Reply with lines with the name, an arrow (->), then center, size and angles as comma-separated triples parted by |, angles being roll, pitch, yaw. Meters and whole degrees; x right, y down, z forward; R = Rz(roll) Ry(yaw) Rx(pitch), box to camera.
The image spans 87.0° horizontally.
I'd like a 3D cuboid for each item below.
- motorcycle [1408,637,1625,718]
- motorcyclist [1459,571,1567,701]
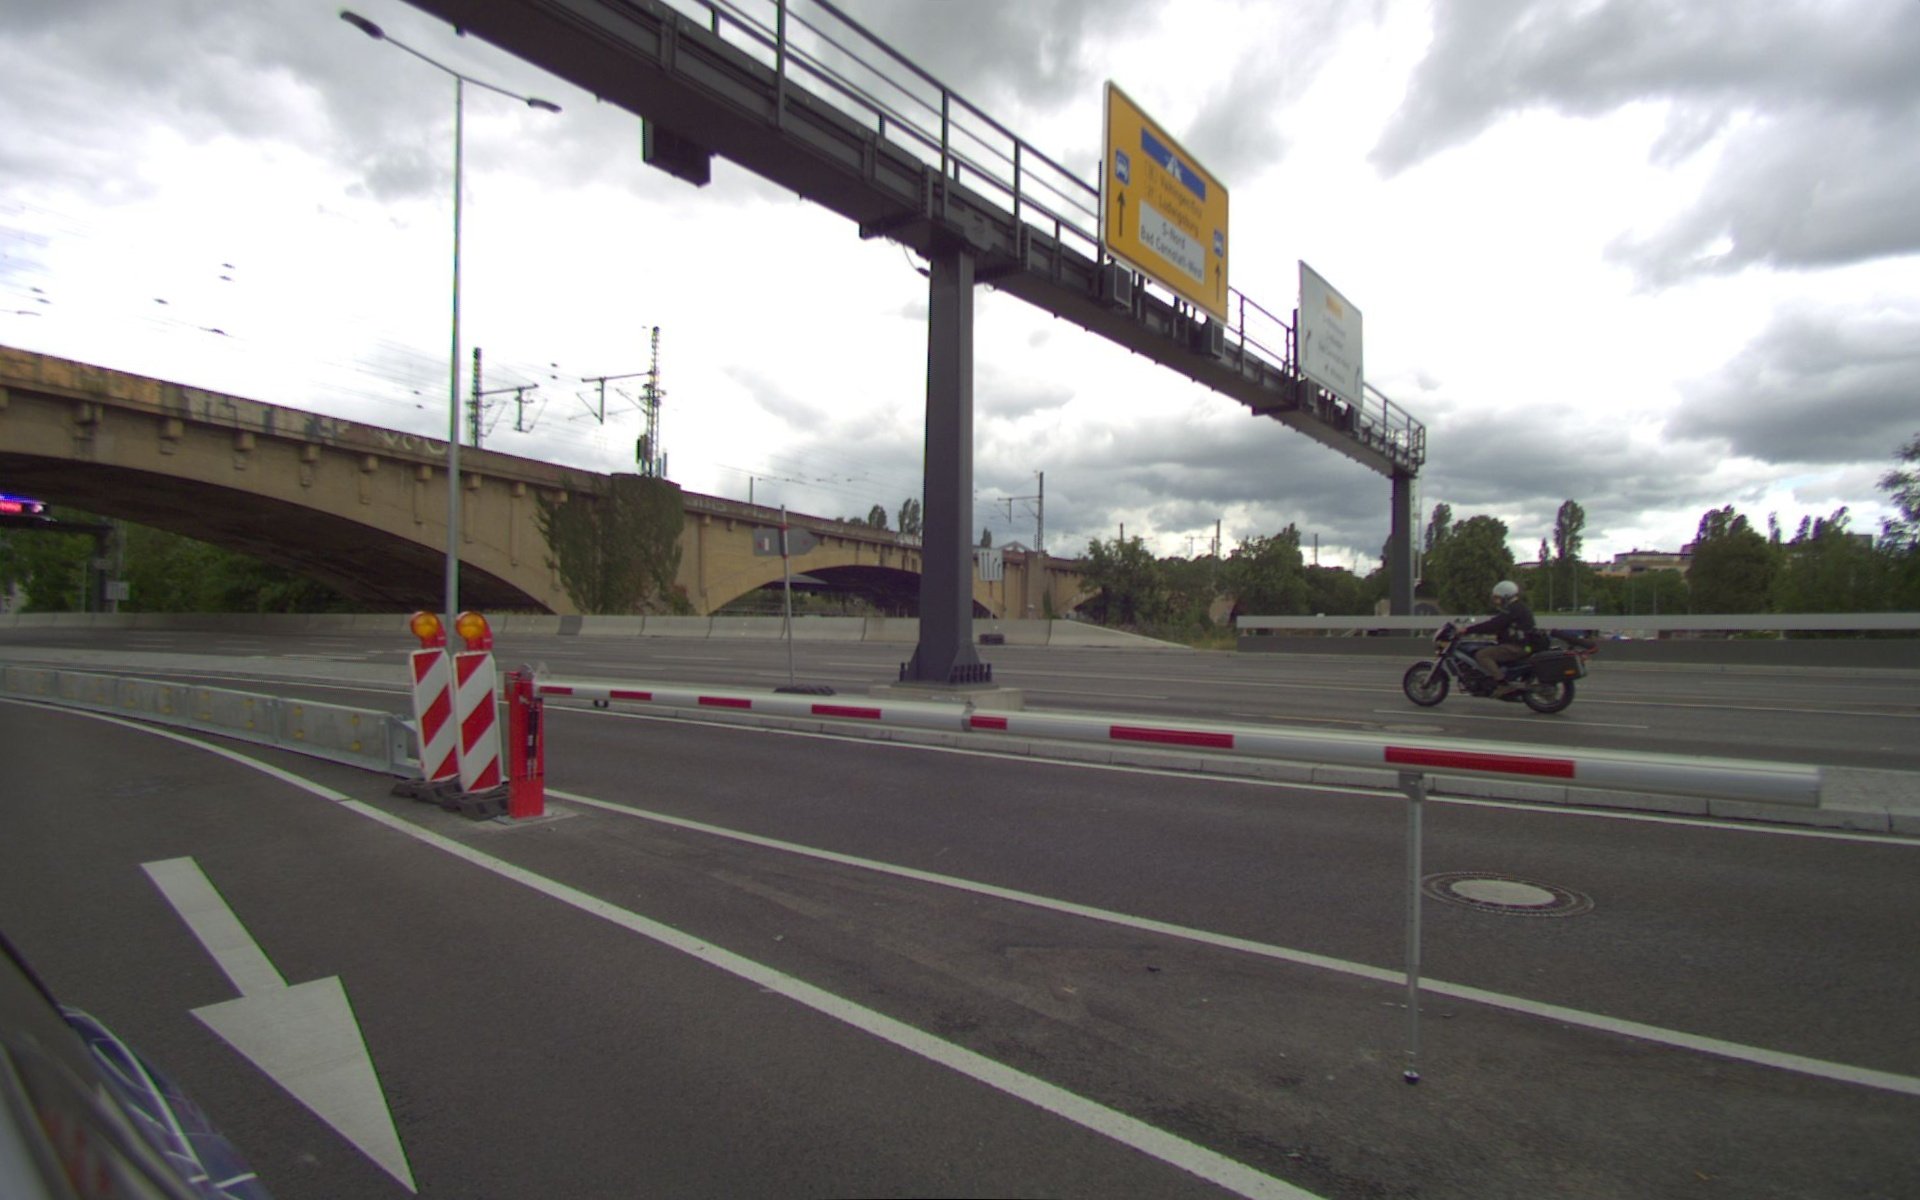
motorcycle -> 7.225, 0.976, 13.241 | 2.394, 0.924, 0.658 | -1, 0, 42
motorcyclist -> 7.226, 0.452, 13.237 | 1.103, 1.618, 0.658 | -1, -1, 42
